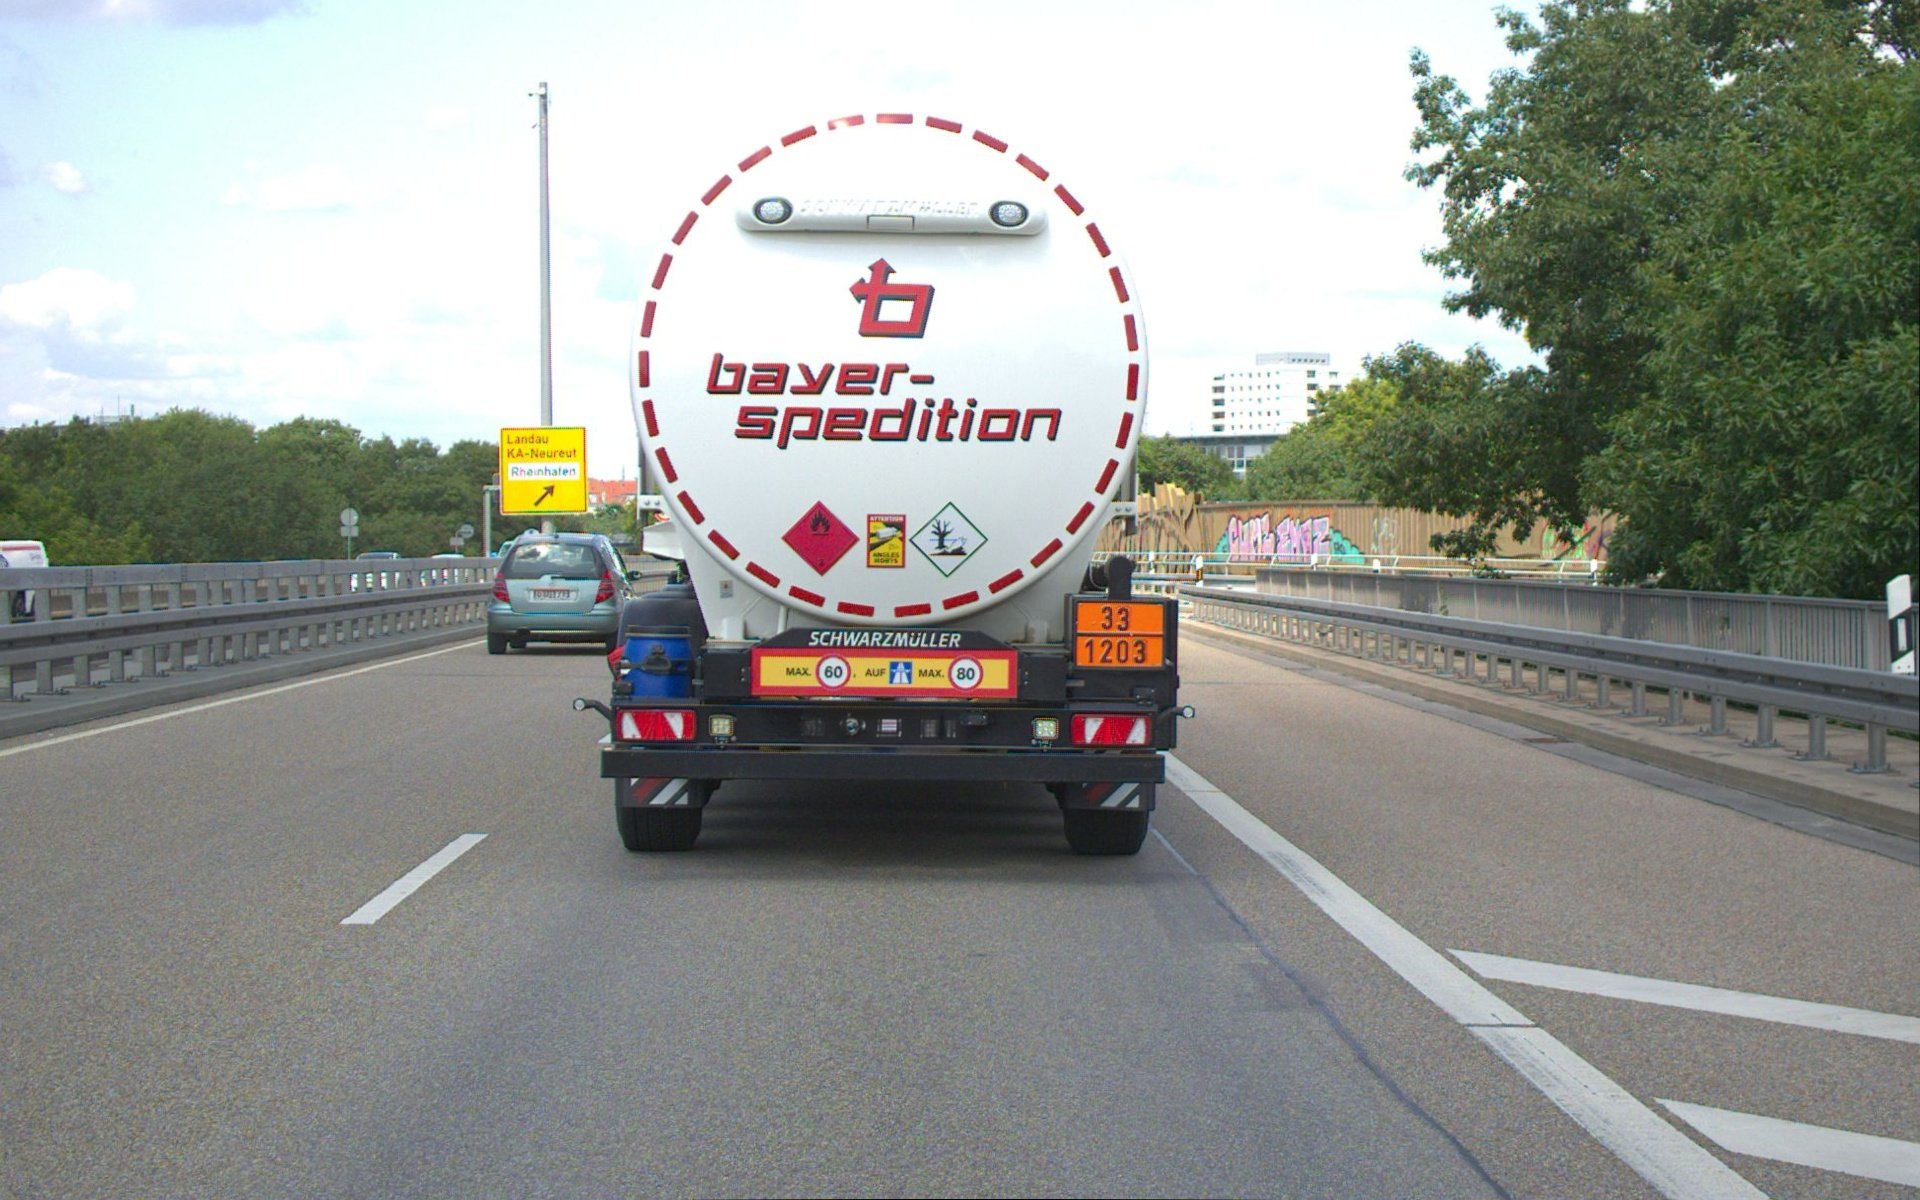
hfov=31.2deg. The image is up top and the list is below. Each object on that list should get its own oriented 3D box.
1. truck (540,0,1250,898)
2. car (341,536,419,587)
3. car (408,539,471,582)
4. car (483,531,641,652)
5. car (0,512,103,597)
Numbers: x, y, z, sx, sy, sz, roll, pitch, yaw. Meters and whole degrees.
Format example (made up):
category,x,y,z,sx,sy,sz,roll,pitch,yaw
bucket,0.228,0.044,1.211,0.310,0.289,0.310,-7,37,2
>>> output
category,x,y,z,sx,sy,sz,roll,pitch,yaw
truck,-0.402,-1.014,18.477,2.895,4.354,8.030,1,1,-2
car,-18.706,-1.264,111.016,1.829,1.576,3.954,1,1,0
car,-19.417,-1.495,128.380,1.902,1.524,4.244,1,1,-3
car,-5.257,-0.150,45.824,1.747,1.526,4.001,0,1,-2
car,-21.788,-1.052,78.747,1.995,1.891,5.165,2,1,13
